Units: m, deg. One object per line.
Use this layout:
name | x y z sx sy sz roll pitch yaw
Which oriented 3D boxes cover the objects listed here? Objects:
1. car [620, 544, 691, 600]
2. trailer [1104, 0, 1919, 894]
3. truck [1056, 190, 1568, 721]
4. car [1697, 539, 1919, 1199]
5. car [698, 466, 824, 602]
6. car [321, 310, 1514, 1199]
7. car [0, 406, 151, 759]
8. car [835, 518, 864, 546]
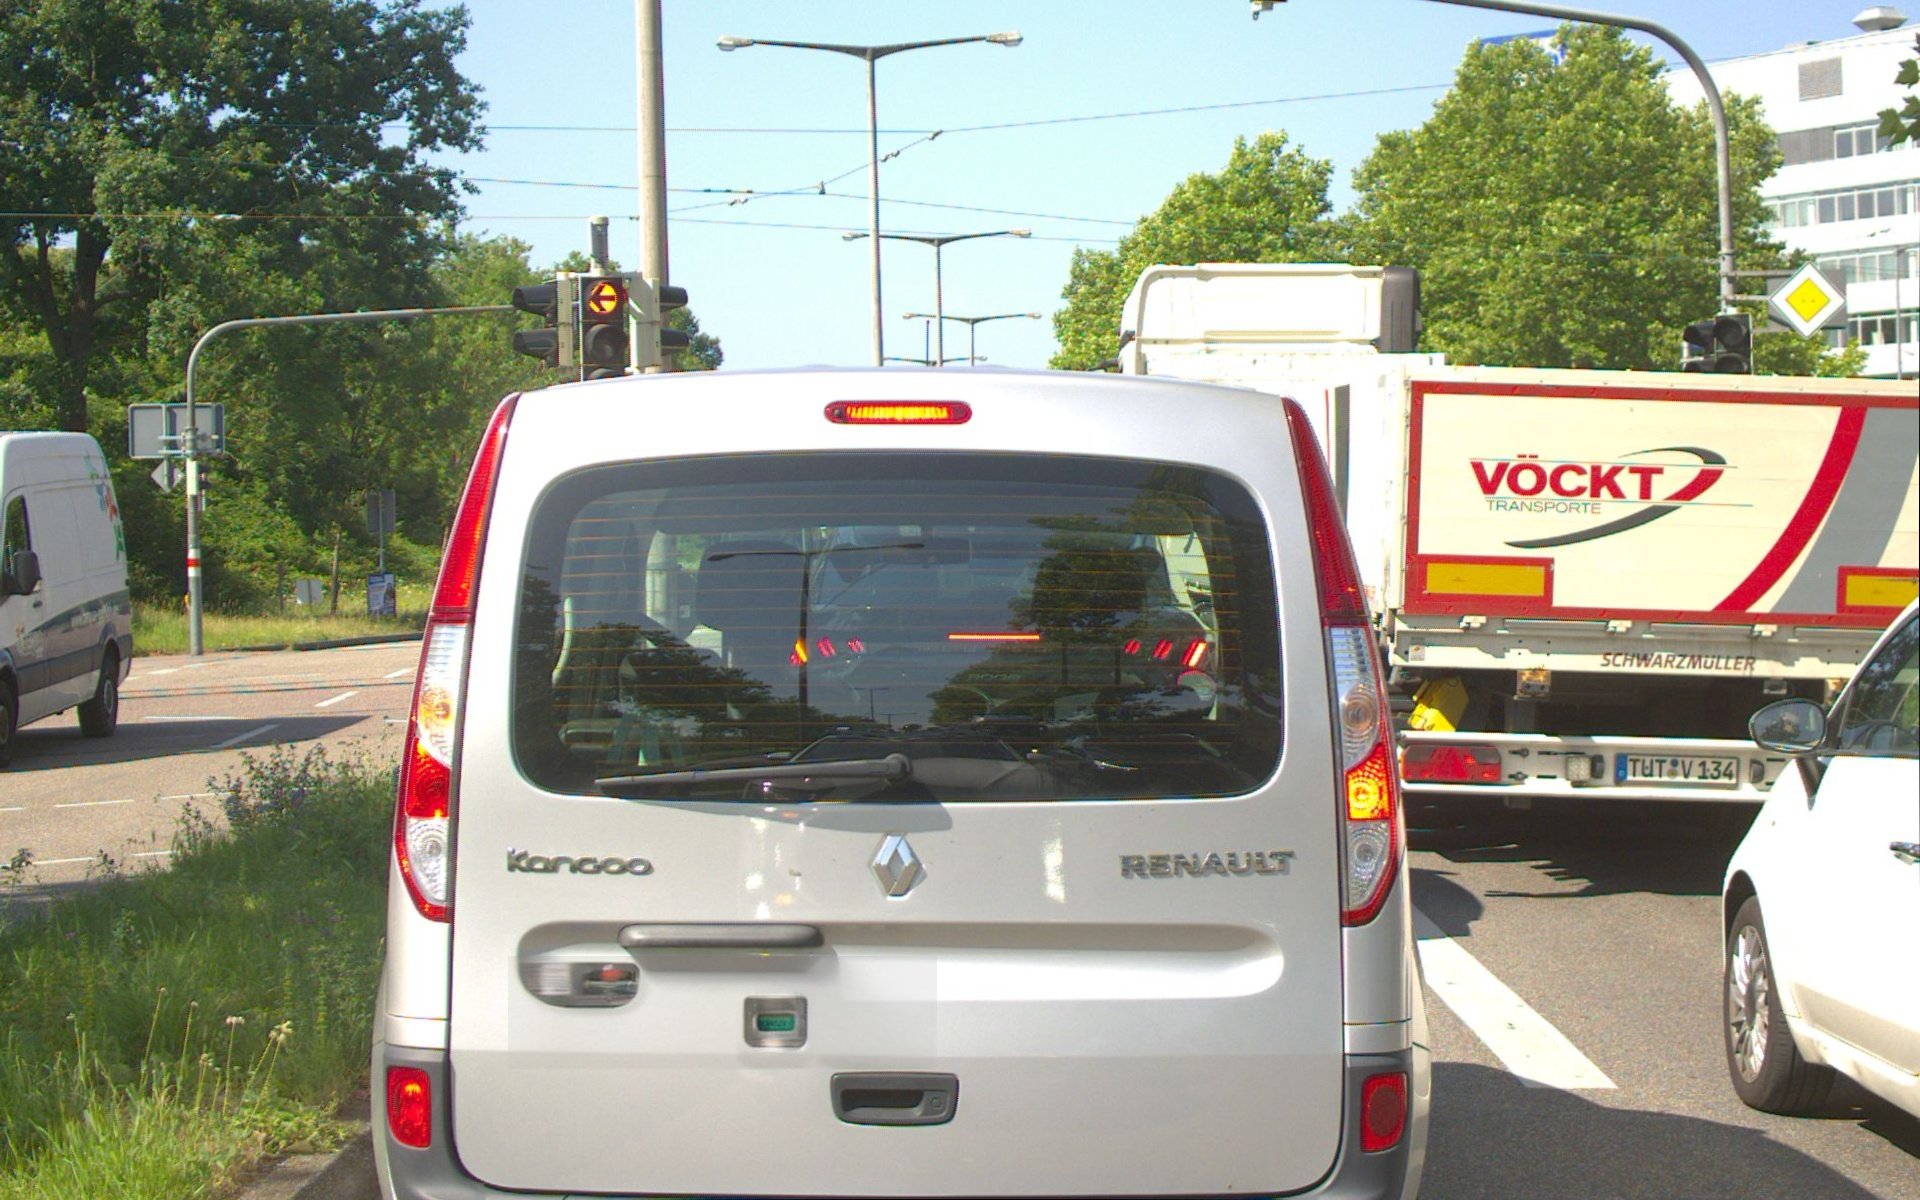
car | -8.747 -0.823 98.888 1.699 1.503 4.000 -1 2 -1
trailer | 2.834 -0.686 20.317 2.900 3.610 12.687 1 1 -2
truck | 2.543 -1.034 27.377 2.910 3.630 7.190 1 1 -3
car | 2.824 0.629 7.824 1.538 1.509 3.260 1 1 -1
car | -3.990 -1.317 69.665 1.994 2.598 5.133 -1 0 2
car | -0.090 0.470 7.204 1.786 1.831 4.000 1 1 -1
car | -8.239 -0.134 27.820 1.993 2.653 5.787 -2 1 -1
car | -8.059 -4.969 250.801 1.888 2.007 4.000 1 1 2
